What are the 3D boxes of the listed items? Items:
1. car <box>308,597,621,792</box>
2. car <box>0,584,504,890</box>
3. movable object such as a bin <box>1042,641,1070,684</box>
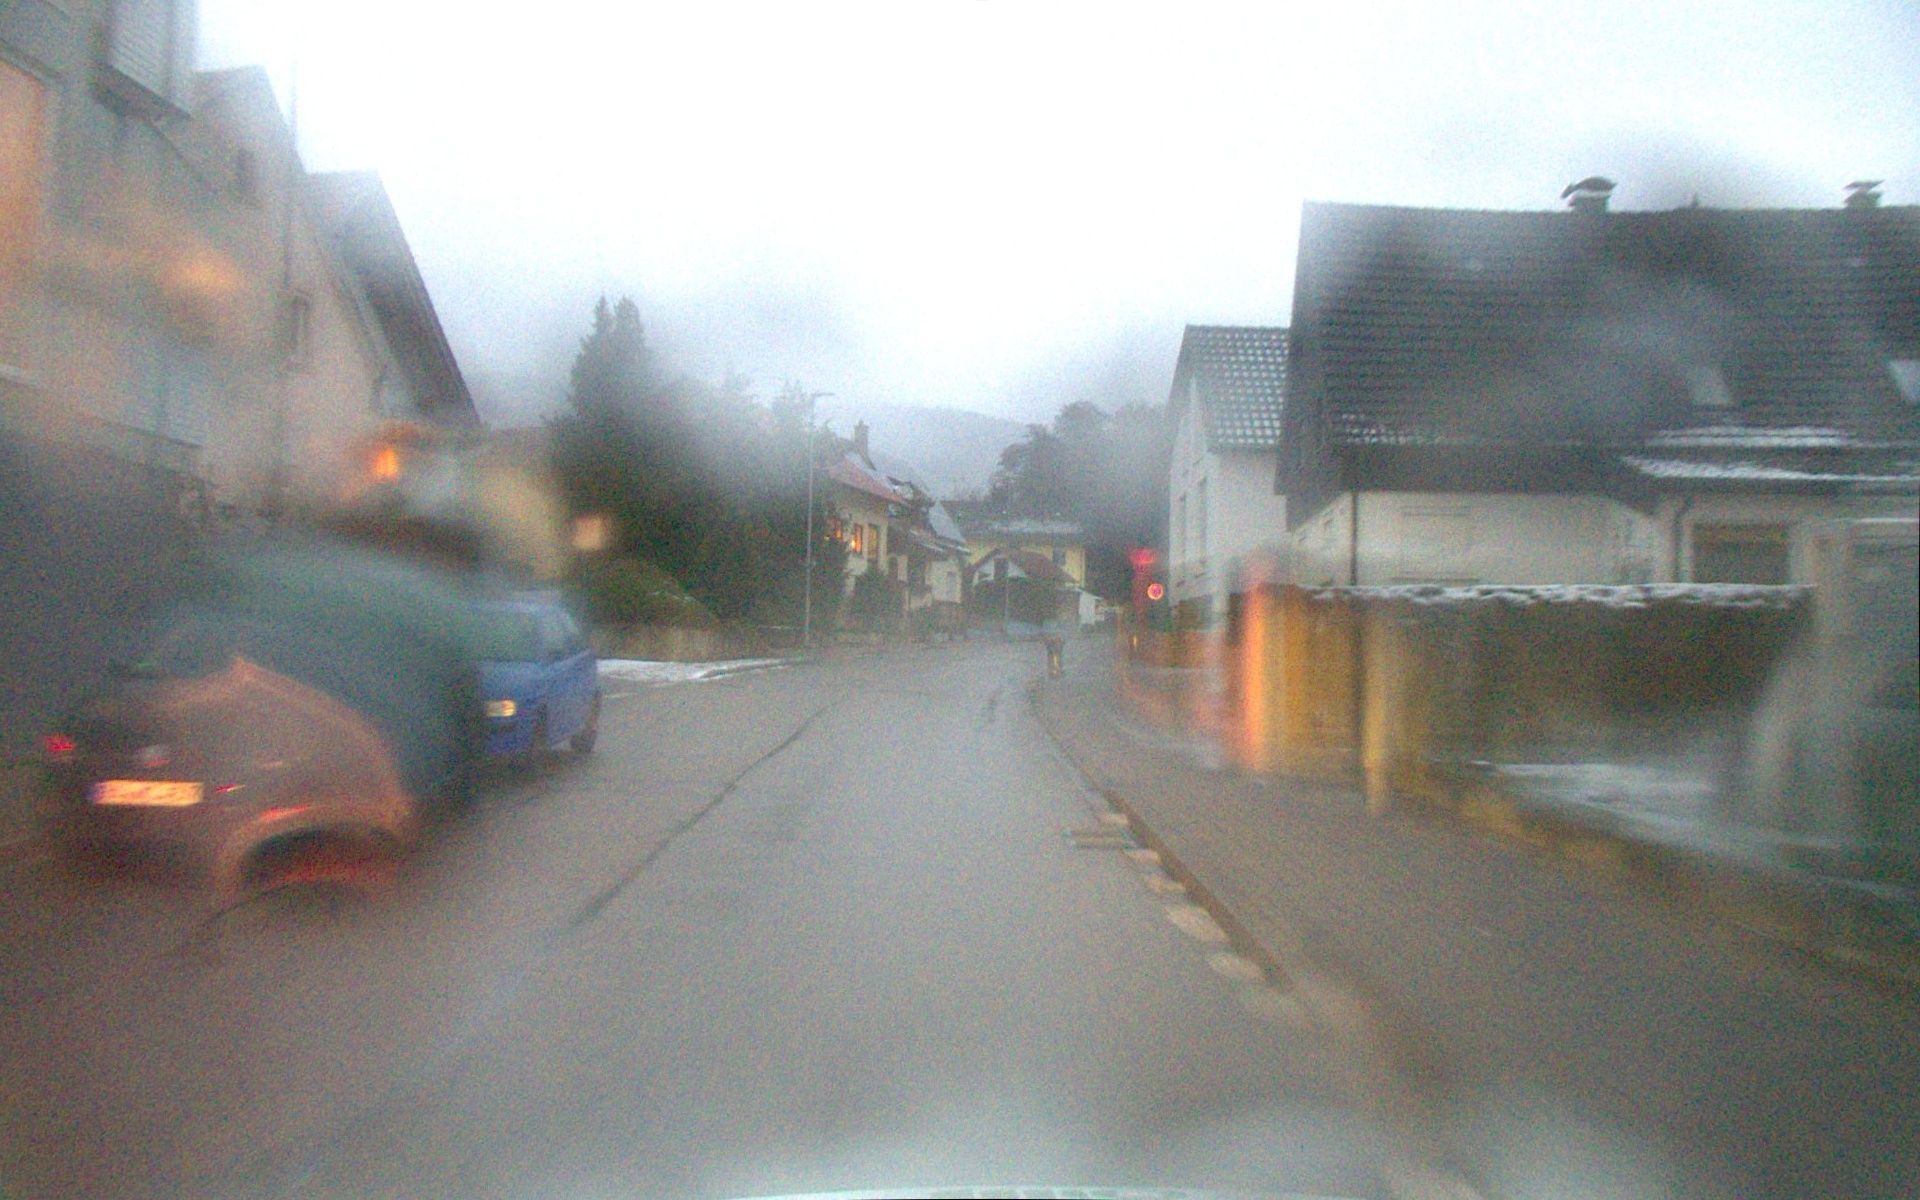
[{"bbox_3d":[-4.150,0.712,14.486,1.634,1.434,3.913,1,0,-2],"label":"car"},{"bbox_3d":[-4.078,0.687,10.013,1.631,1.442,3.689,2,0,-1],"label":"car"},{"bbox_3d":[2.246,1.456,38.631,0.601,0.963,0.595,-3,-3,5],"label":"movable object such as a bin"}]
